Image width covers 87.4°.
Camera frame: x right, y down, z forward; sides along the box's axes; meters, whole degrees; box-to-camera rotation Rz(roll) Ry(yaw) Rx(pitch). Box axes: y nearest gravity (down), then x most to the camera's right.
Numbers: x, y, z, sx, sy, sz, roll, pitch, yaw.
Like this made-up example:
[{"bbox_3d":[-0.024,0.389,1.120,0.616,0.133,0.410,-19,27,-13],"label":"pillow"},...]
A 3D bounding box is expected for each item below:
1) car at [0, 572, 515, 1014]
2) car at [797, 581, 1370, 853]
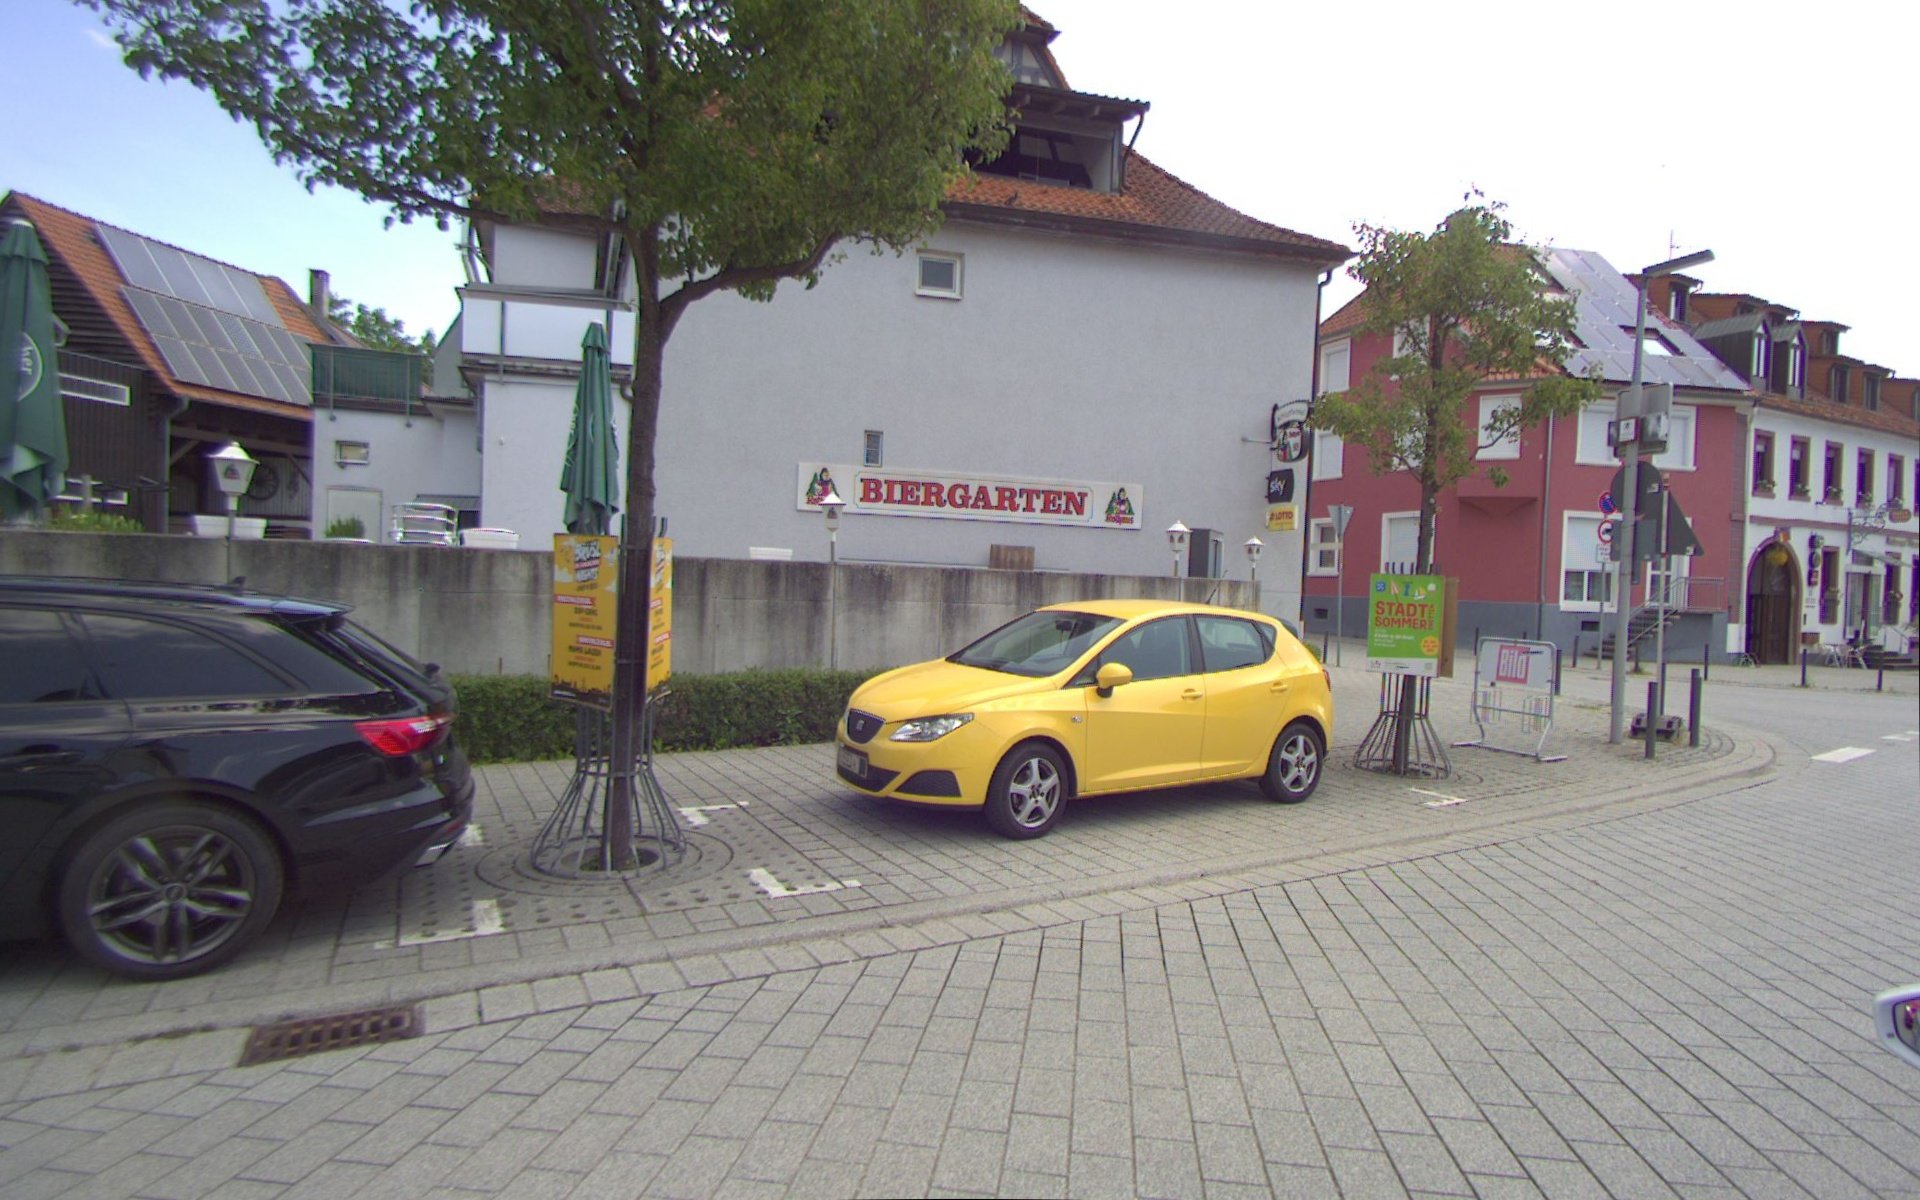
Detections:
[{"bbox_3d":[-4.190,0.610,3.781,4.481,1.442,1.808,1,1,-28],"label":"car"},{"bbox_3d":[0.976,0.670,7.252,3.918,1.494,1.659,1,0,-31],"label":"car"}]
